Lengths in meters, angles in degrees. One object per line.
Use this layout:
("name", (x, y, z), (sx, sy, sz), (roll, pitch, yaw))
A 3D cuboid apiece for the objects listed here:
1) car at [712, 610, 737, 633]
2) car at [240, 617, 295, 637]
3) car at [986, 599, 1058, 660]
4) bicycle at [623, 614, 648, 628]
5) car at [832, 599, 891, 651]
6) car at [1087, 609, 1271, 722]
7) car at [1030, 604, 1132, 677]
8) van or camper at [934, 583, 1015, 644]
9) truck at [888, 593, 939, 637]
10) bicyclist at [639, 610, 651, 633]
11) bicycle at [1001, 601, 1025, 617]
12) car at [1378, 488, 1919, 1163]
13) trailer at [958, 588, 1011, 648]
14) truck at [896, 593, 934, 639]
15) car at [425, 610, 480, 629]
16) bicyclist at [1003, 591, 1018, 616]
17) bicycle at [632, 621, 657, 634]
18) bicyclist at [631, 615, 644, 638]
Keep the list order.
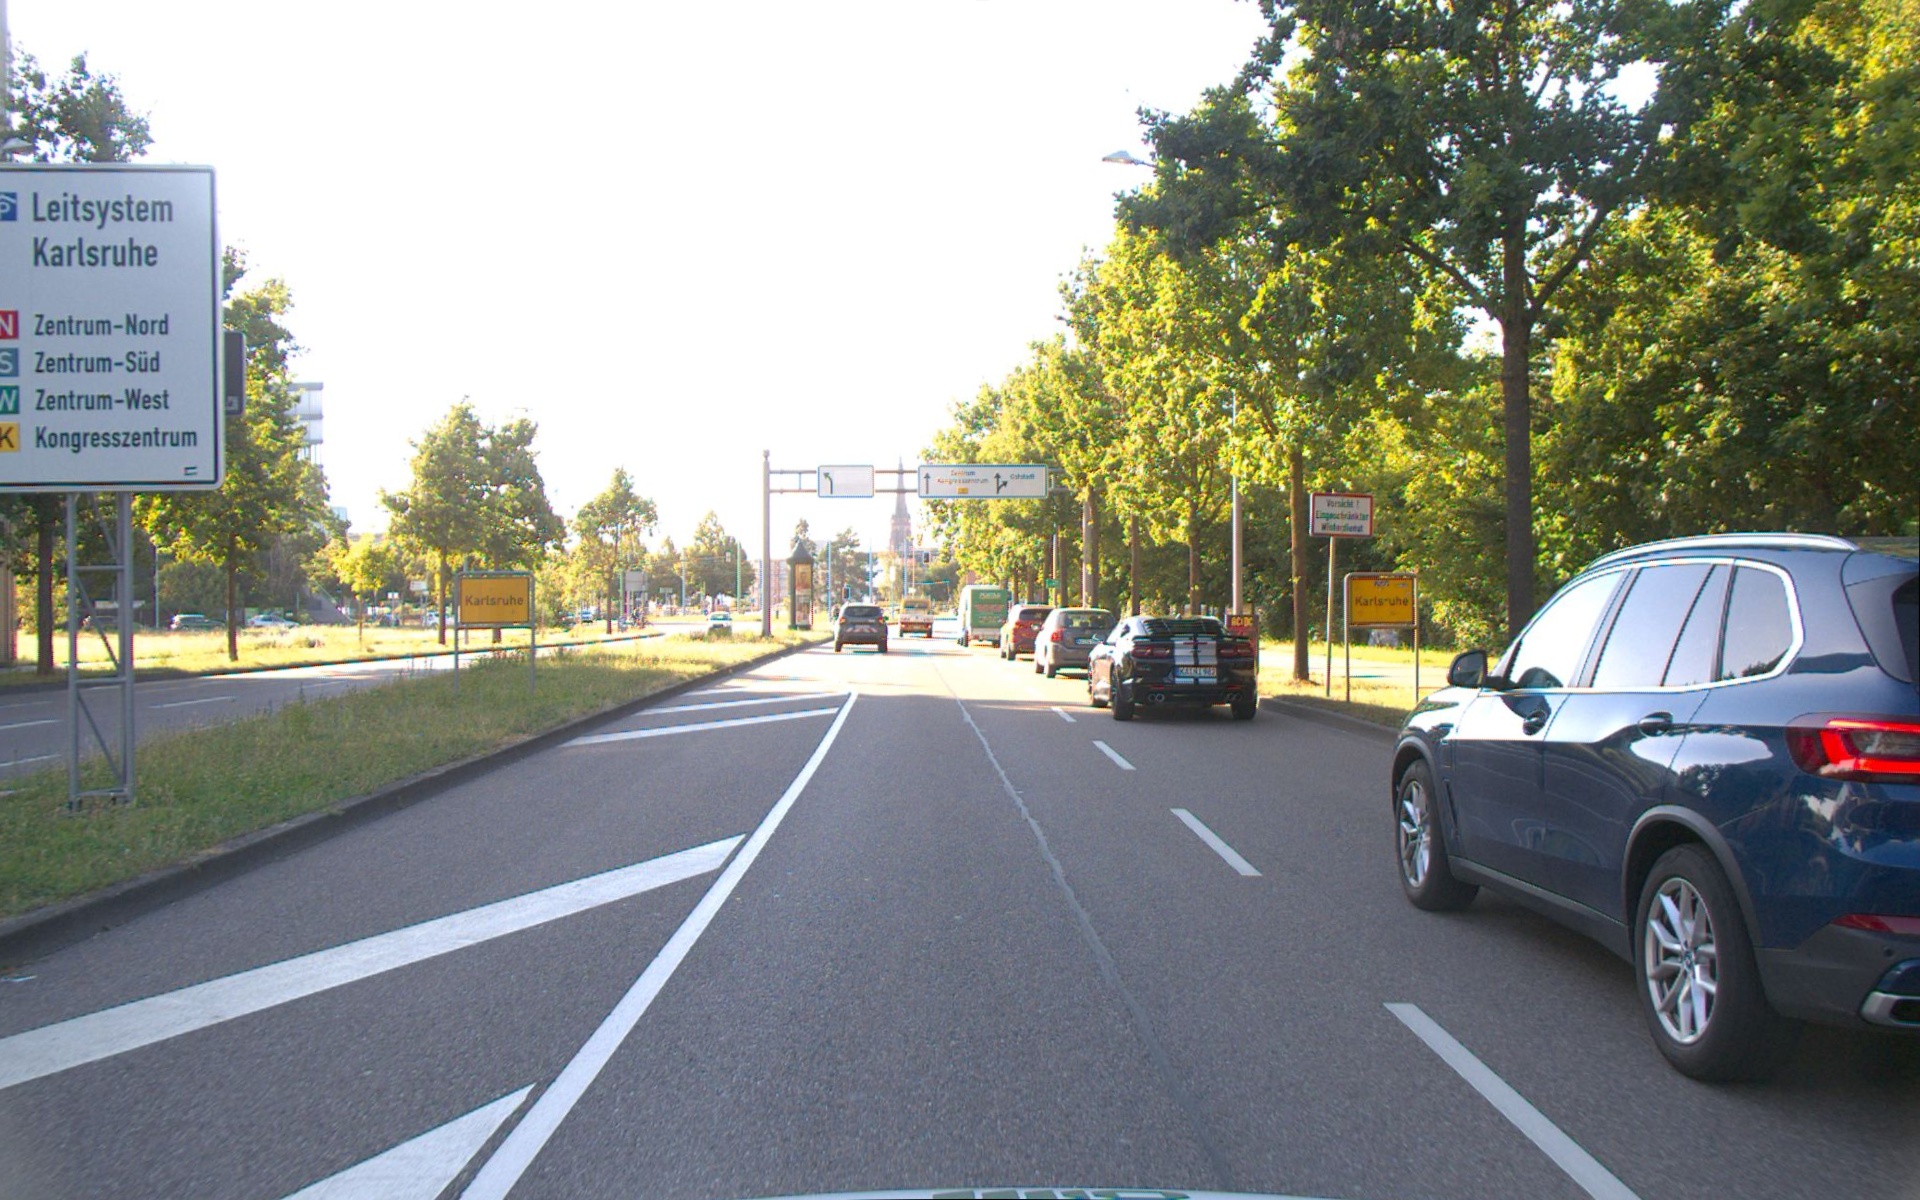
("car", (-16.683, 1.505, 117.036), (1.532, 1.602, 3.409), (-1, 0, -5))
("car", (-56.083, 2.154, 134.026), (3.682, 1.534, 1.844), (-1, 0, -45))
("car", (1.793, 0.833, 49.080), (1.713, 1.649, 3.817), (1, 1, -4))
("bicycle", (-25.678, 1.643, 130.891), (1.867, 1.037, 0.505), (1, -1, 13))
("car", (-3.413, 0.841, 56.611), (1.868, 1.689, 3.995), (0, 0, -6))
("car", (2.881, 0.823, 22.737), (1.817, 1.361, 4.623), (0, 0, -1))
("car", (2.596, 0.845, 36.291), (1.713, 1.499, 3.816), (-1, 0, -4))
("van or camper", (0.600, 0.590, 75.728), (2.245, 2.675, 6.561), (1, 0, -13))
("truck", (-2.875, 0.891, 100.997), (2.531, 2.602, 6.242), (-1, 0, -7))
("bicyclist", (-25.206, 1.729, 132.334), (0.796, 1.820, 0.496), (1, 0, 6))
("bicycle", (4.237, 0.736, 132.785), (1.871, 1.266, 0.607), (-2, -1, 35))
("car", (3.283, 0.621, 6.692), (1.915, 1.757, 4.698), (1, -1, -1))
("trailer", (1.014, 0.755, 69.784), (2.048, 2.442, 3.500), (1, 0, -2))
("truck", (-2.750, 0.934, 100.271), (2.175, 2.697, 4.770), (0, 0, -3))
("car", (-44.712, 1.693, 145.660), (4.277, 1.534, 1.844), (-1, 0, -45))
("bicyclist", (4.065, 0.284, 132.902), (0.920, 1.932, 0.599), (-2, -1, 34))
("bicycle", (-25.230, 2.205, 132.334), (1.868, 1.037, 0.505), (1, -1, 5))
("bicyclist", (-25.513, 2.060, 130.854), (0.795, 1.801, 0.497), (1, 0, 13))
